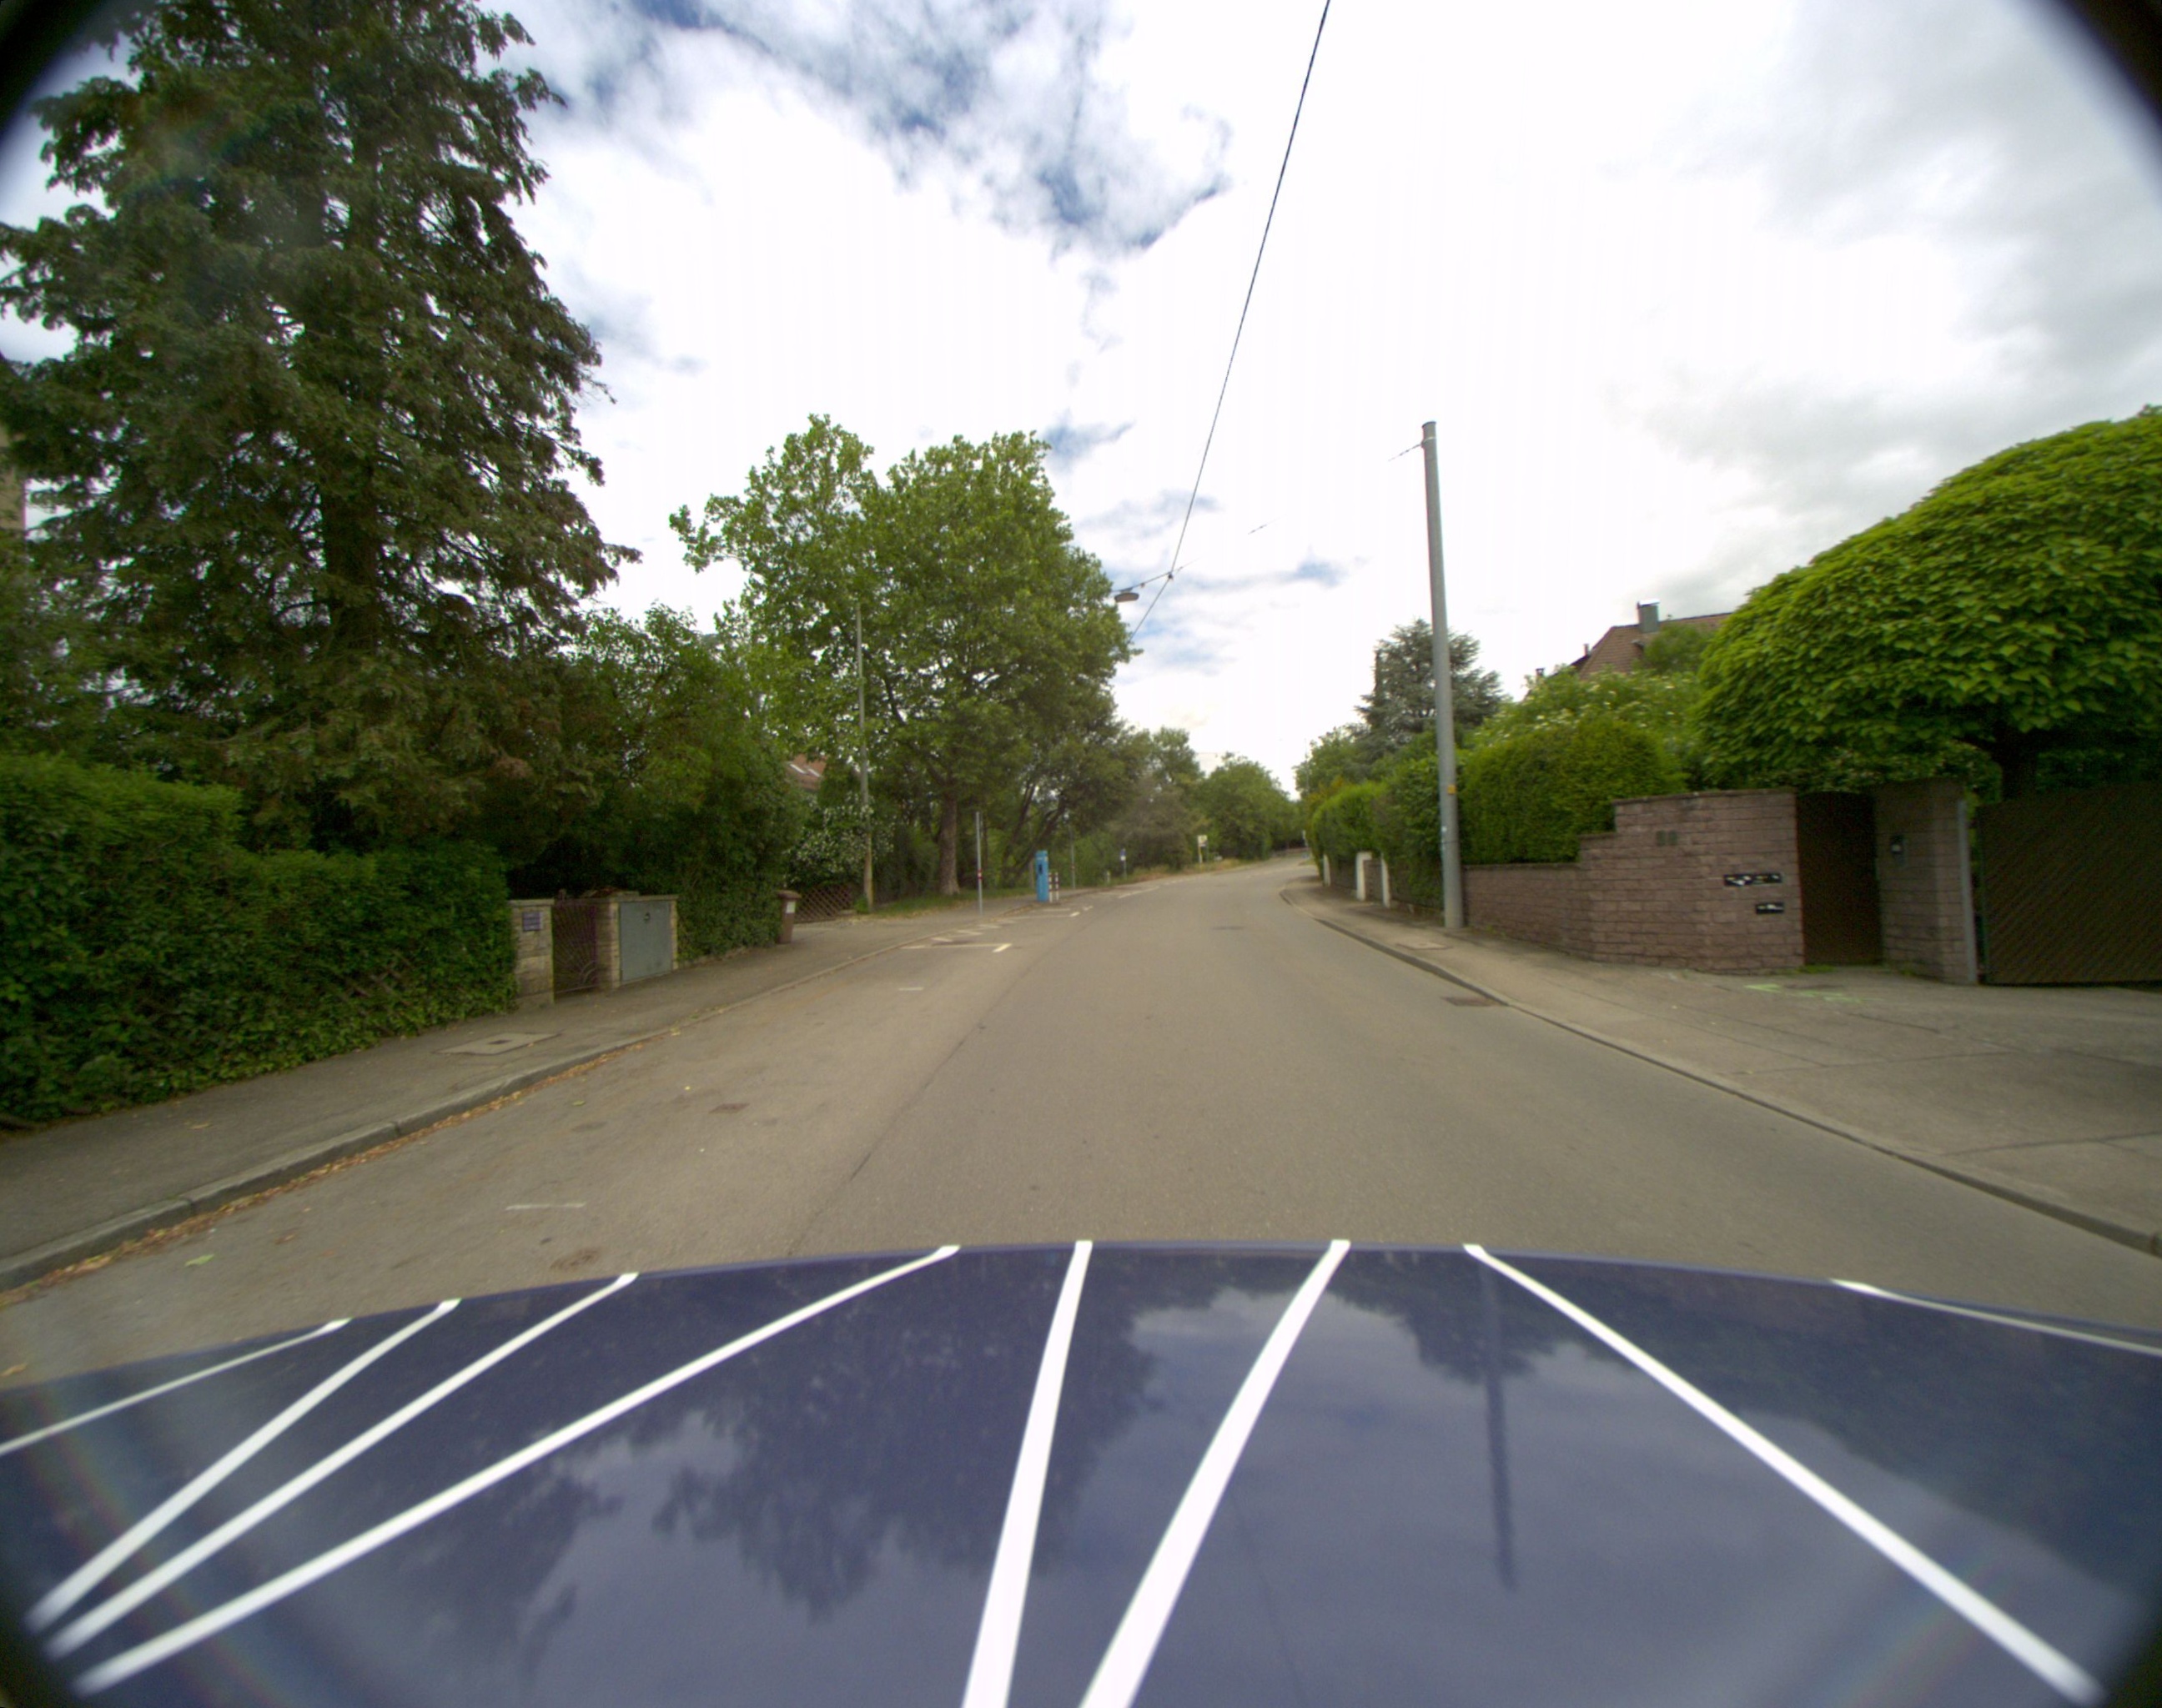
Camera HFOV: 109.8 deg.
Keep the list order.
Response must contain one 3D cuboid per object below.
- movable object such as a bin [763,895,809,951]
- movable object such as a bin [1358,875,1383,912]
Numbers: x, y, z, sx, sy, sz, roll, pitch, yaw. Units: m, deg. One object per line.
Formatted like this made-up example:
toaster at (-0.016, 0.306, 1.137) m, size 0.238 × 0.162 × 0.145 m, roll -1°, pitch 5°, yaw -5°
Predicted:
movable object such as a bin at (-5.951, 1.384, 15.351) m, size 0.604 × 1.063 × 0.569 m, roll -3°, pitch 0°, yaw 13°
movable object such as a bin at (8.328, 1.132, 21.858) m, size 0.448 × 1.025 × 0.499 m, roll -2°, pitch -2°, yaw -7°
